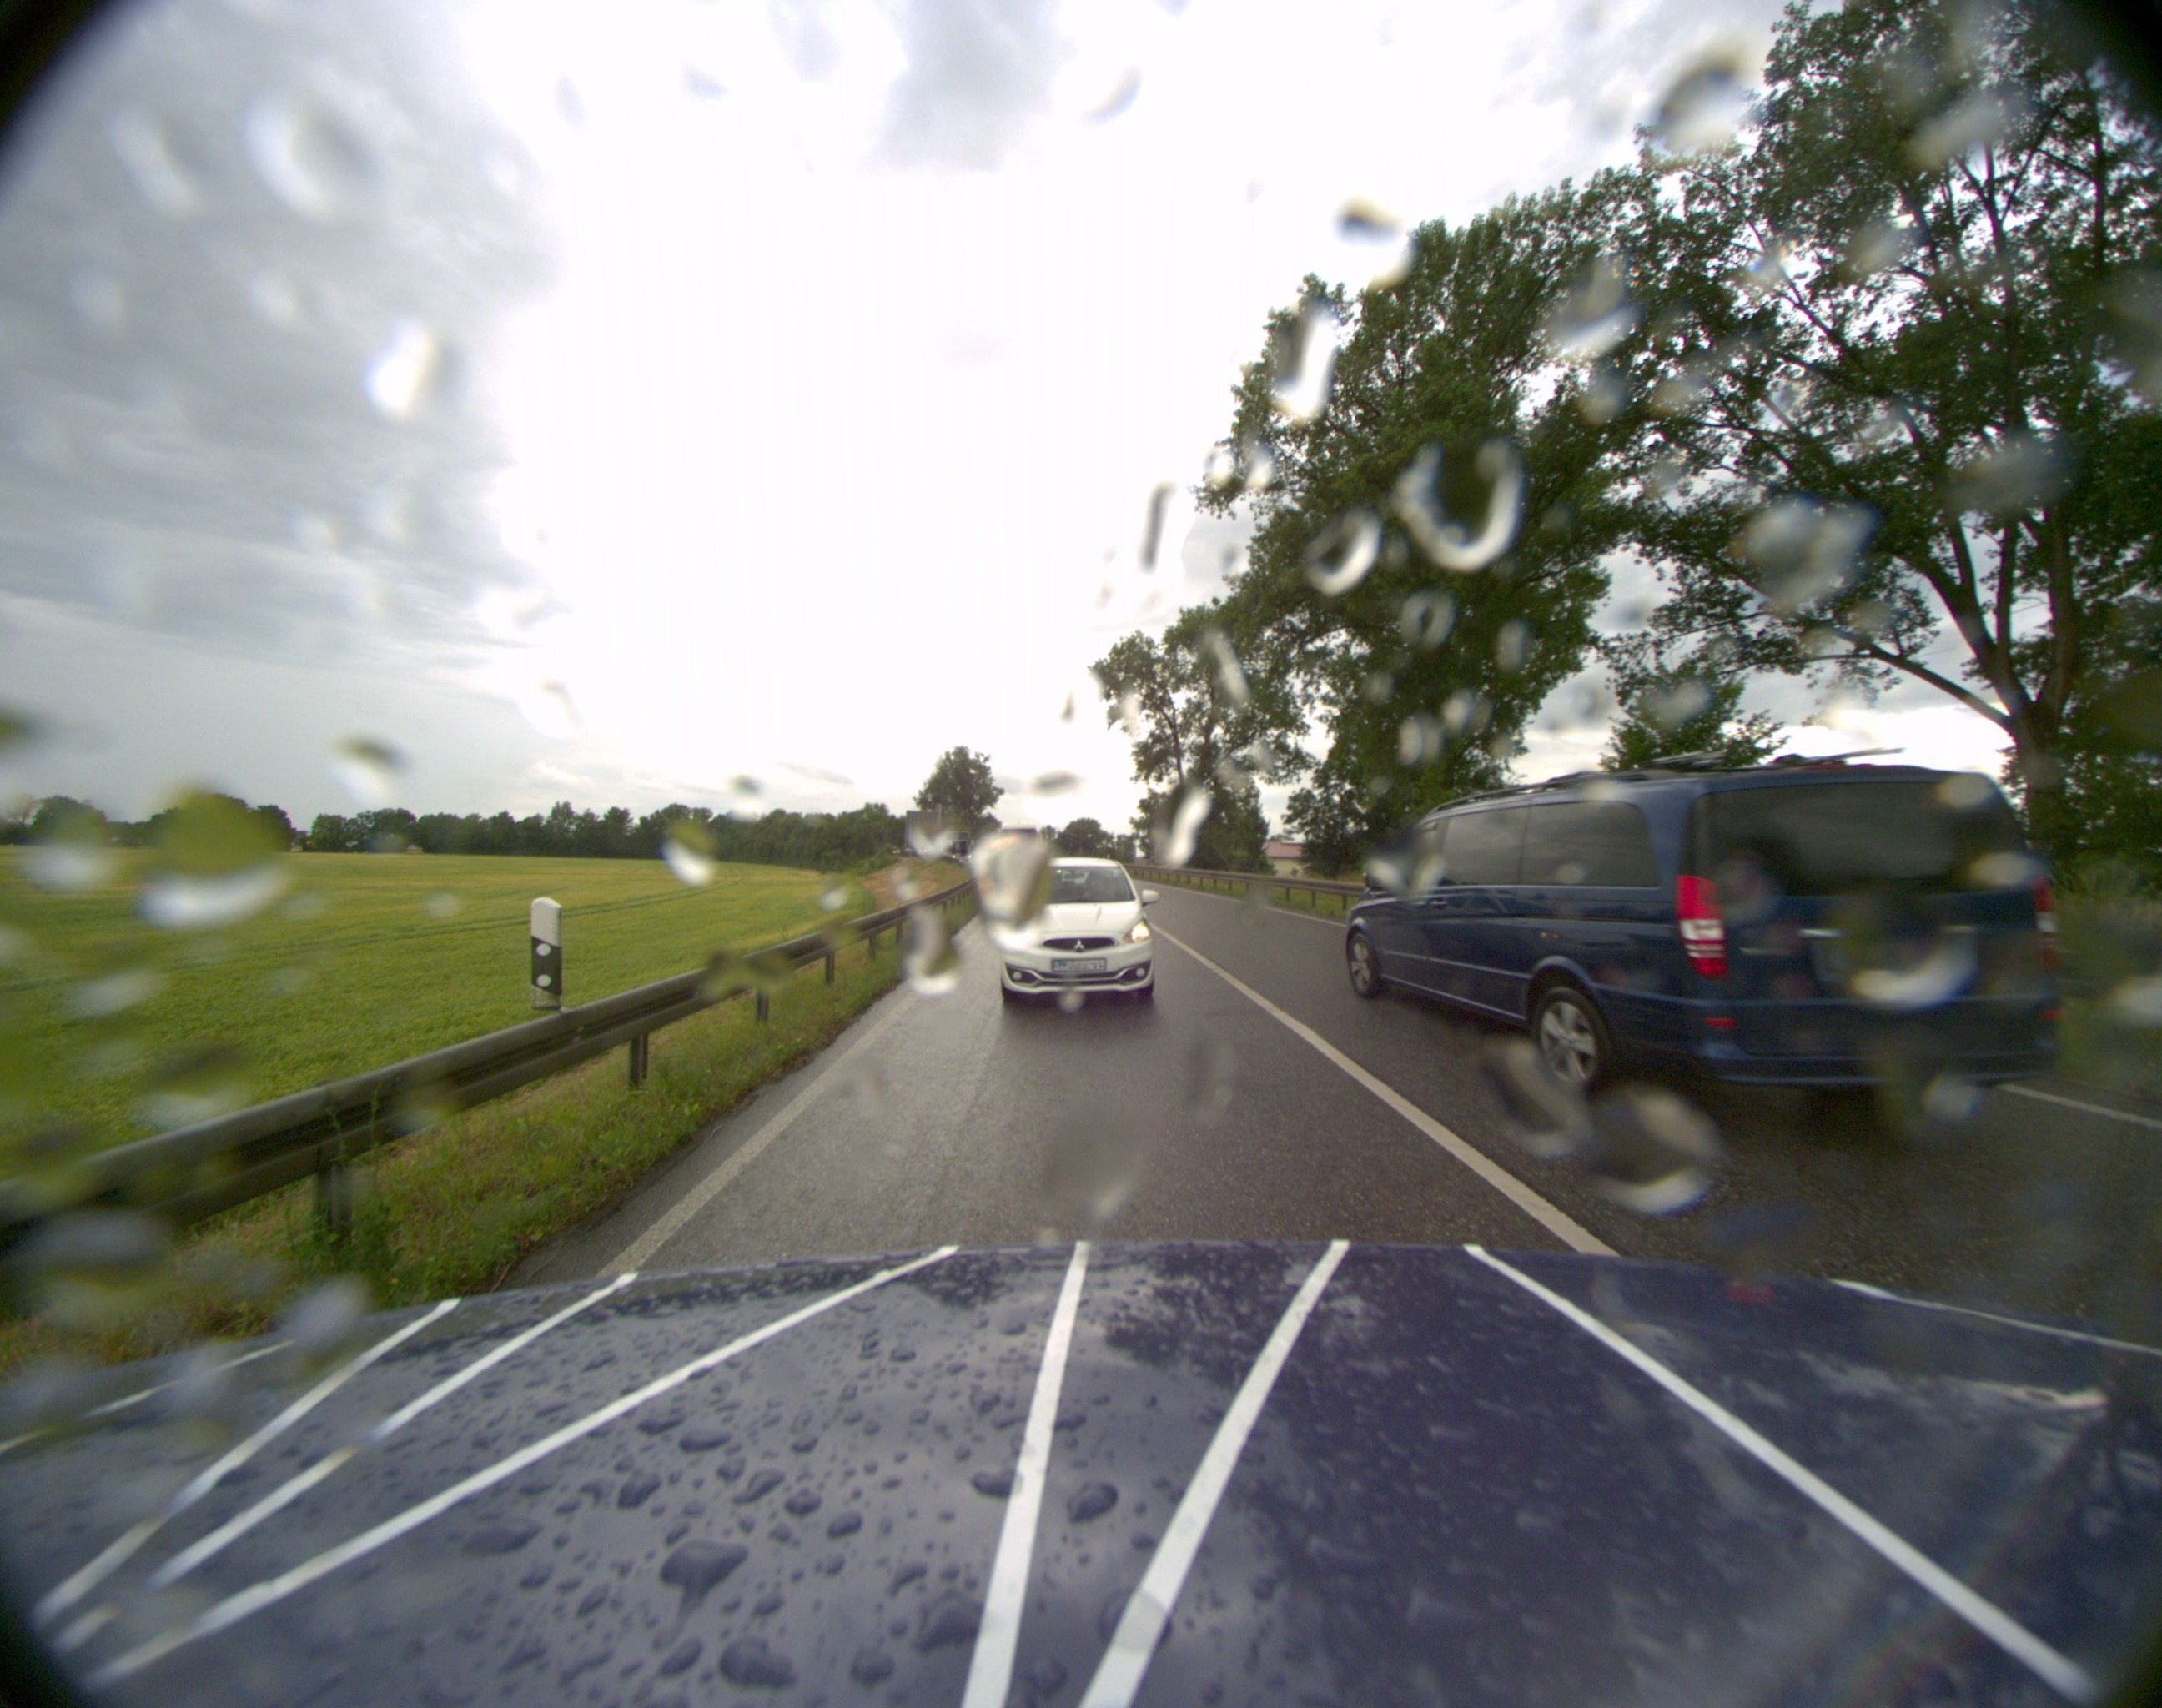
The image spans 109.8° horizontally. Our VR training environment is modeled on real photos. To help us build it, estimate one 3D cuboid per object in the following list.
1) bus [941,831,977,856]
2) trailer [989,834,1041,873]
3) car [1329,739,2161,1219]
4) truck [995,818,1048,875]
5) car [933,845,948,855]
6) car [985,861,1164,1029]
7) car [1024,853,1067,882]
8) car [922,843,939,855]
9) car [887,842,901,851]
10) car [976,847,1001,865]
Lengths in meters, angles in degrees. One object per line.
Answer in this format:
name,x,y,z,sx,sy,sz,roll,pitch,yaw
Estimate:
bus,-17.500,-1.515,108.142,2.968,3.294,14.813,-2,2,-17
trailer,-5.530,-0.111,60.821,2.986,2.618,15.667,-2,1,-9
car,3.708,0.522,5.692,1.967,2.002,4.859,-2,0,-1
truck,-4.196,-0.532,52.334,2.986,3.589,6.075,-2,1,-9
car,-23.323,-0.695,125.797,1.816,1.568,3.993,-2,1,-18
car,-0.148,0.876,9.242,1.653,1.461,4.028,-2,1,-3
car,-1.920,0.657,39.892,1.782,1.380,4.324,-2,1,-9
car,-27.571,-0.867,138.956,2.002,2.002,5.325,-2,1,-23
car,-42.652,-1.649,173.390,2.003,2.002,4.305,-3,1,-30
car,-9.993,0.201,81.762,2.044,1.832,5.329,-2,1,-14
